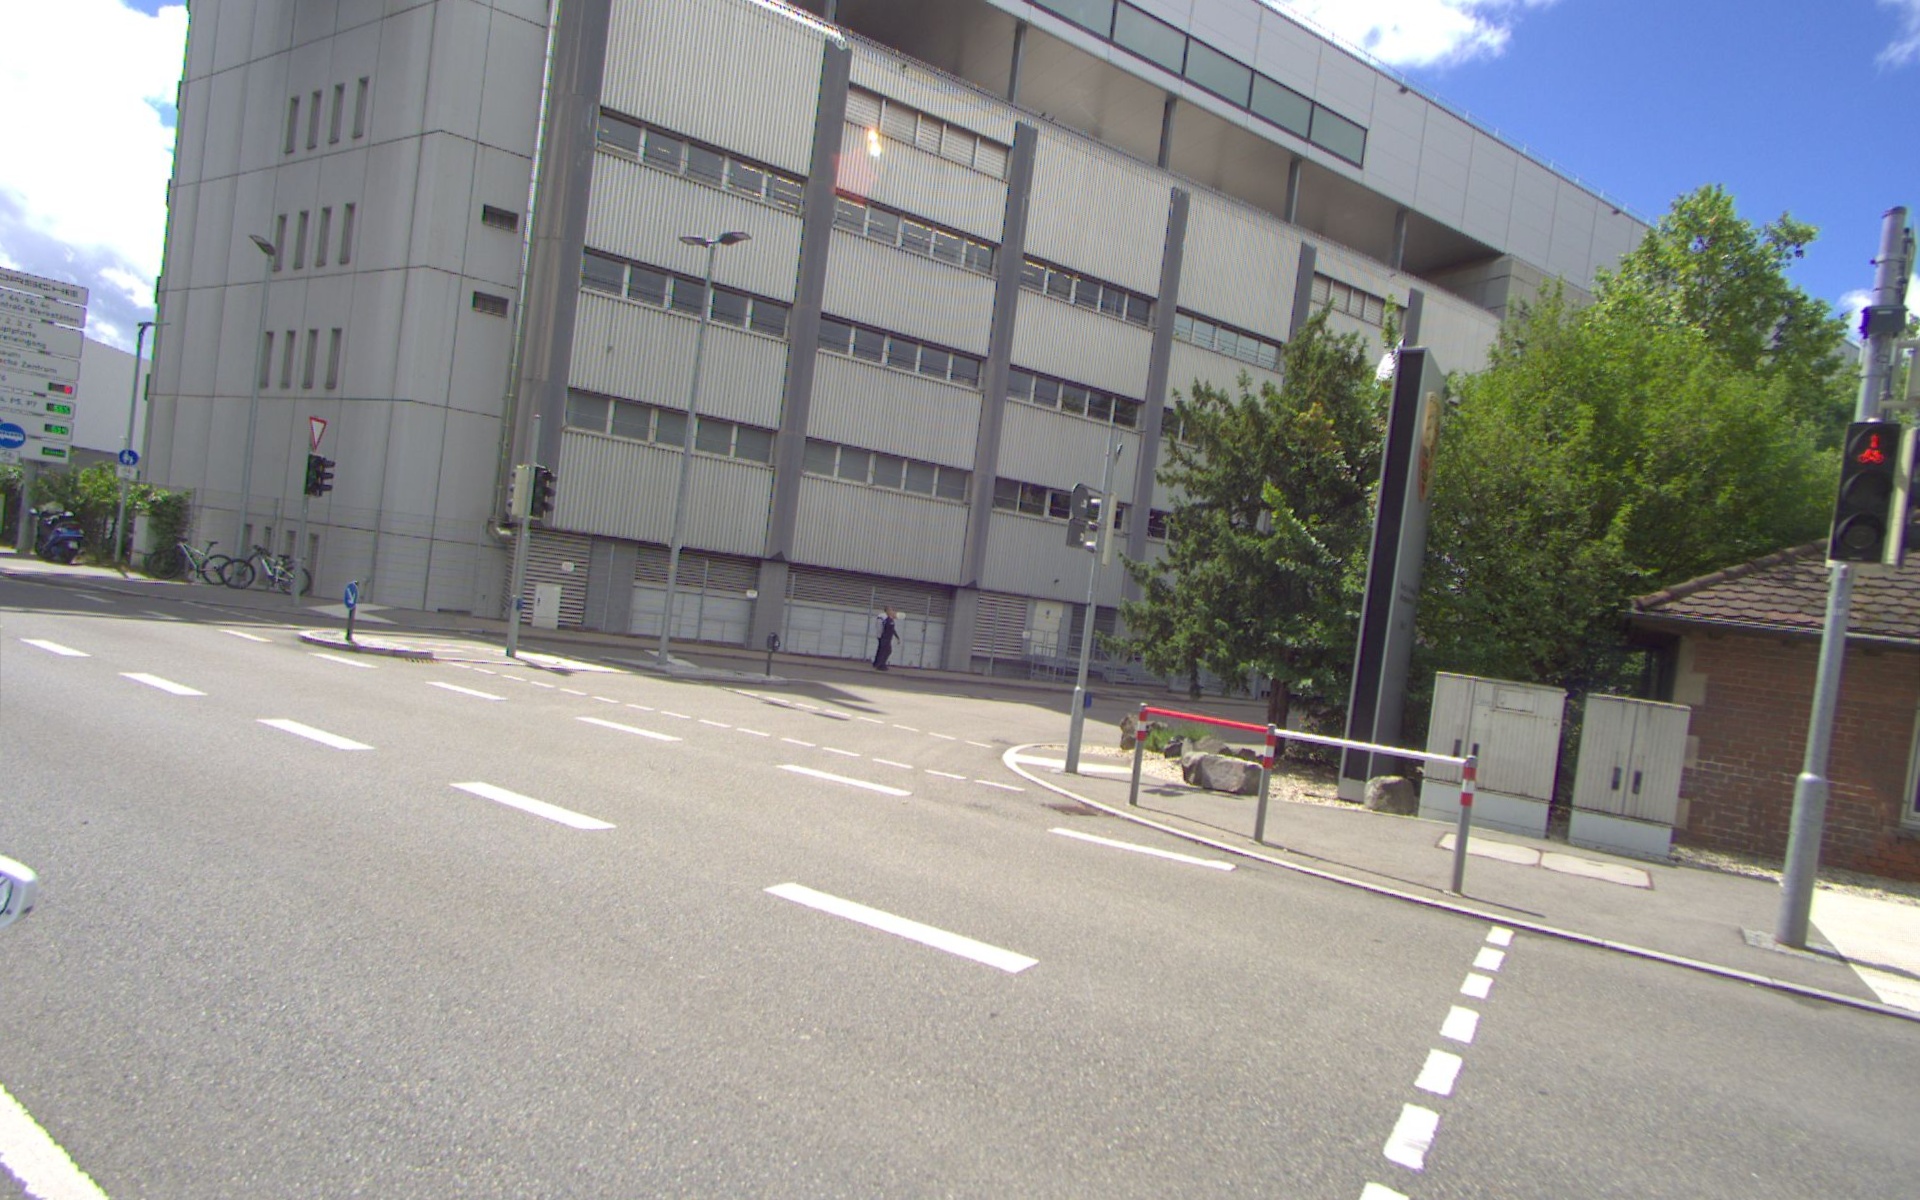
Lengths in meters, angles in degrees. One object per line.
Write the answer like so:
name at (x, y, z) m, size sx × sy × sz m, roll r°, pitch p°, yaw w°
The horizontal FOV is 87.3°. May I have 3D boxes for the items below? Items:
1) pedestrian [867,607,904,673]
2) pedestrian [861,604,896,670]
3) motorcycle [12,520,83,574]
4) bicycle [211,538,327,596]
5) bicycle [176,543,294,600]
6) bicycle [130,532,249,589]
pedestrian at (-2.100, 1.133, 28.494) m, size 0.651 × 1.778 × 0.516 m, roll 7°, pitch 3°, yaw -31°
pedestrian at (-2.354, 1.070, 29.028) m, size 0.651 × 1.783 × 0.480 m, roll 7°, pitch 2°, yaw -31°
motorcycle at (-23.381, -1.369, 25.776) m, size 1.921 × 1.179 × 0.419 m, roll 6°, pitch -1°, yaw 21°
bicycle at (-16.802, -0.783, 24.524) m, size 2.166 × 1.099 × 0.474 m, roll 8°, pitch -2°, yaw -24°
bicycle at (-17.759, -0.684, 24.697) m, size 2.196 × 1.099 × 0.474 m, roll 8°, pitch -2°, yaw -24°
bicycle at (-19.099, -0.971, 24.978) m, size 2.196 × 1.099 × 0.474 m, roll 8°, pitch -2°, yaw -24°
